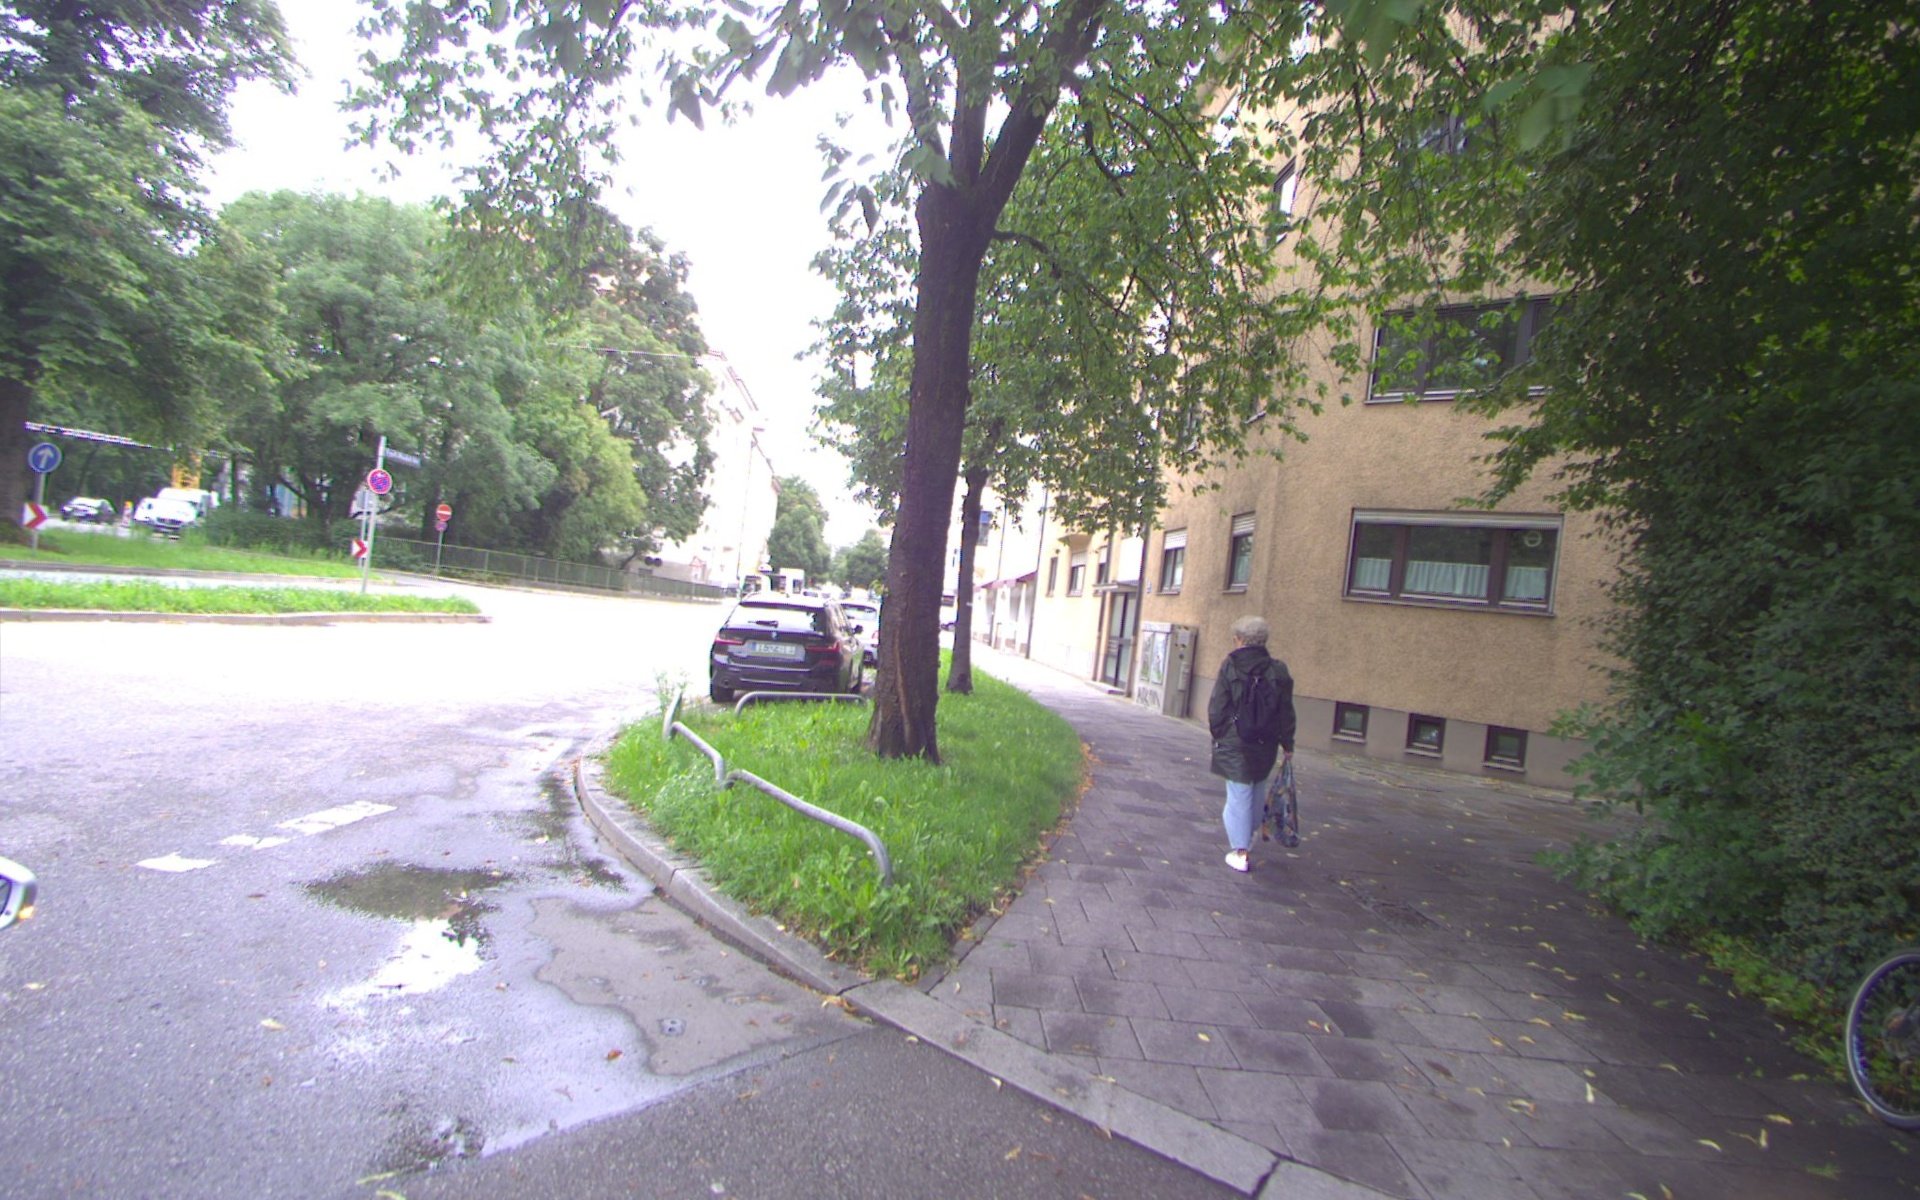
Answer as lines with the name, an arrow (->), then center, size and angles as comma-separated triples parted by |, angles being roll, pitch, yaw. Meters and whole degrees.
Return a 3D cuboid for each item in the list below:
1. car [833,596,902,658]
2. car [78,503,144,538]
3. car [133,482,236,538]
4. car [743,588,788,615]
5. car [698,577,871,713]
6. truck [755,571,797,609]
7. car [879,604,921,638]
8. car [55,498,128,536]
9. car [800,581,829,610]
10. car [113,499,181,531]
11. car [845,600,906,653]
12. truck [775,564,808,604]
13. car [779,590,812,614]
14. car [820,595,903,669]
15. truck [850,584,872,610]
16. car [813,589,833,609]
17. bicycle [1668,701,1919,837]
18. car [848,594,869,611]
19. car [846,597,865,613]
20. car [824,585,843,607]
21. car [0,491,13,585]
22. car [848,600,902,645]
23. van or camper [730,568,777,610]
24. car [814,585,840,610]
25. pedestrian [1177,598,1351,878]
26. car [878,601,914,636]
car -> -2.595, 0.738, 28.883 | 1.603, 1.515, 3.786 | 5, 0, -2
car -> -55.516, -5.172, 65.832 | 1.670, 1.897, 3.986 | 6, 0, -16
car -> -40.689, -4.651, 52.968 | 2.272, 2.297, 5.114 | 7, 0, -14
car -> -12.442, 0.083, 64.594 | 1.960, 1.447, 4.902 | 7, 0, -2
car -> -2.298, 0.565, 14.249 | 1.764, 1.516, 4.374 | 4, 0, -3
truck -> -16.224, -0.904, 89.240 | 2.733, 2.909, 7.193 | 7, 0, -5
car -> -3.028, 1.078, 51.377 | 1.729, 1.515, 3.823 | 5, 0, 1
car -> -52.956, -5.021, 61.407 | 1.725, 1.897, 3.986 | 6, 0, -16
car -> -12.234, -0.393, 84.703 | 1.961, 2.101, 4.135 | 7, 1, -5
car -> -48.663, -5.071, 60.310 | 1.872, 1.464, 4.277 | 6, 0, -22
car -> -2.755, 0.848, 33.514 | 1.664, 1.514, 4.433 | 5, -1, -2
truck -> -18.786, -1.778, 112.438 | 2.970, 4.000, 6.986 | 7, 0, -7
car -> -12.031, 0.155, 73.976 | 1.961, 1.447, 4.135 | 7, 0, -5
car -> -2.303, 0.730, 24.315 | 1.603, 1.515, 3.820 | 5, 0, -2
truck -> -13.082, -0.360, 132.314 | 2.456, 3.009, 5.322 | 7, 0, -6
car -> -15.750, -0.117, 116.118 | 1.965, 2.038, 3.995 | 6, 0, -6
bicycle -> 9.564, 1.923, 11.538 | 2.389, 1.233, 0.703 | 6, 0, -6
car -> -10.772, 0.227, 106.787 | 1.961, 1.447, 4.135 | 7, 0, -5
car -> -12.101, 0.572, 116.335 | 1.961, 1.447, 4.135 | 7, 0, -5
car -> -16.344, -0.508, 130.040 | 1.911, 2.510, 4.779 | 7, 0, -4
car -> -16.067, -1.108, 13.988 | 1.731, 1.478, 4.075 | 7, -1, 2
car -> -3.270, 0.848, 39.498 | 1.730, 1.514, 4.486 | 5, -1, -2
van or camper -> -16.118, -0.858, 78.870 | 2.563, 2.876, 6.178 | 7, 1, -5
car -> -12.379, -0.253, 93.799 | 1.965, 2.039, 3.994 | 7, 1, -6
pedestrian -> 1.964, 0.855, 6.636 | 0.660, 1.643, 0.980 | 7, -1, -1
car -> -3.562, 1.032, 56.760 | 1.730, 1.700, 4.705 | 5, -1, -2
